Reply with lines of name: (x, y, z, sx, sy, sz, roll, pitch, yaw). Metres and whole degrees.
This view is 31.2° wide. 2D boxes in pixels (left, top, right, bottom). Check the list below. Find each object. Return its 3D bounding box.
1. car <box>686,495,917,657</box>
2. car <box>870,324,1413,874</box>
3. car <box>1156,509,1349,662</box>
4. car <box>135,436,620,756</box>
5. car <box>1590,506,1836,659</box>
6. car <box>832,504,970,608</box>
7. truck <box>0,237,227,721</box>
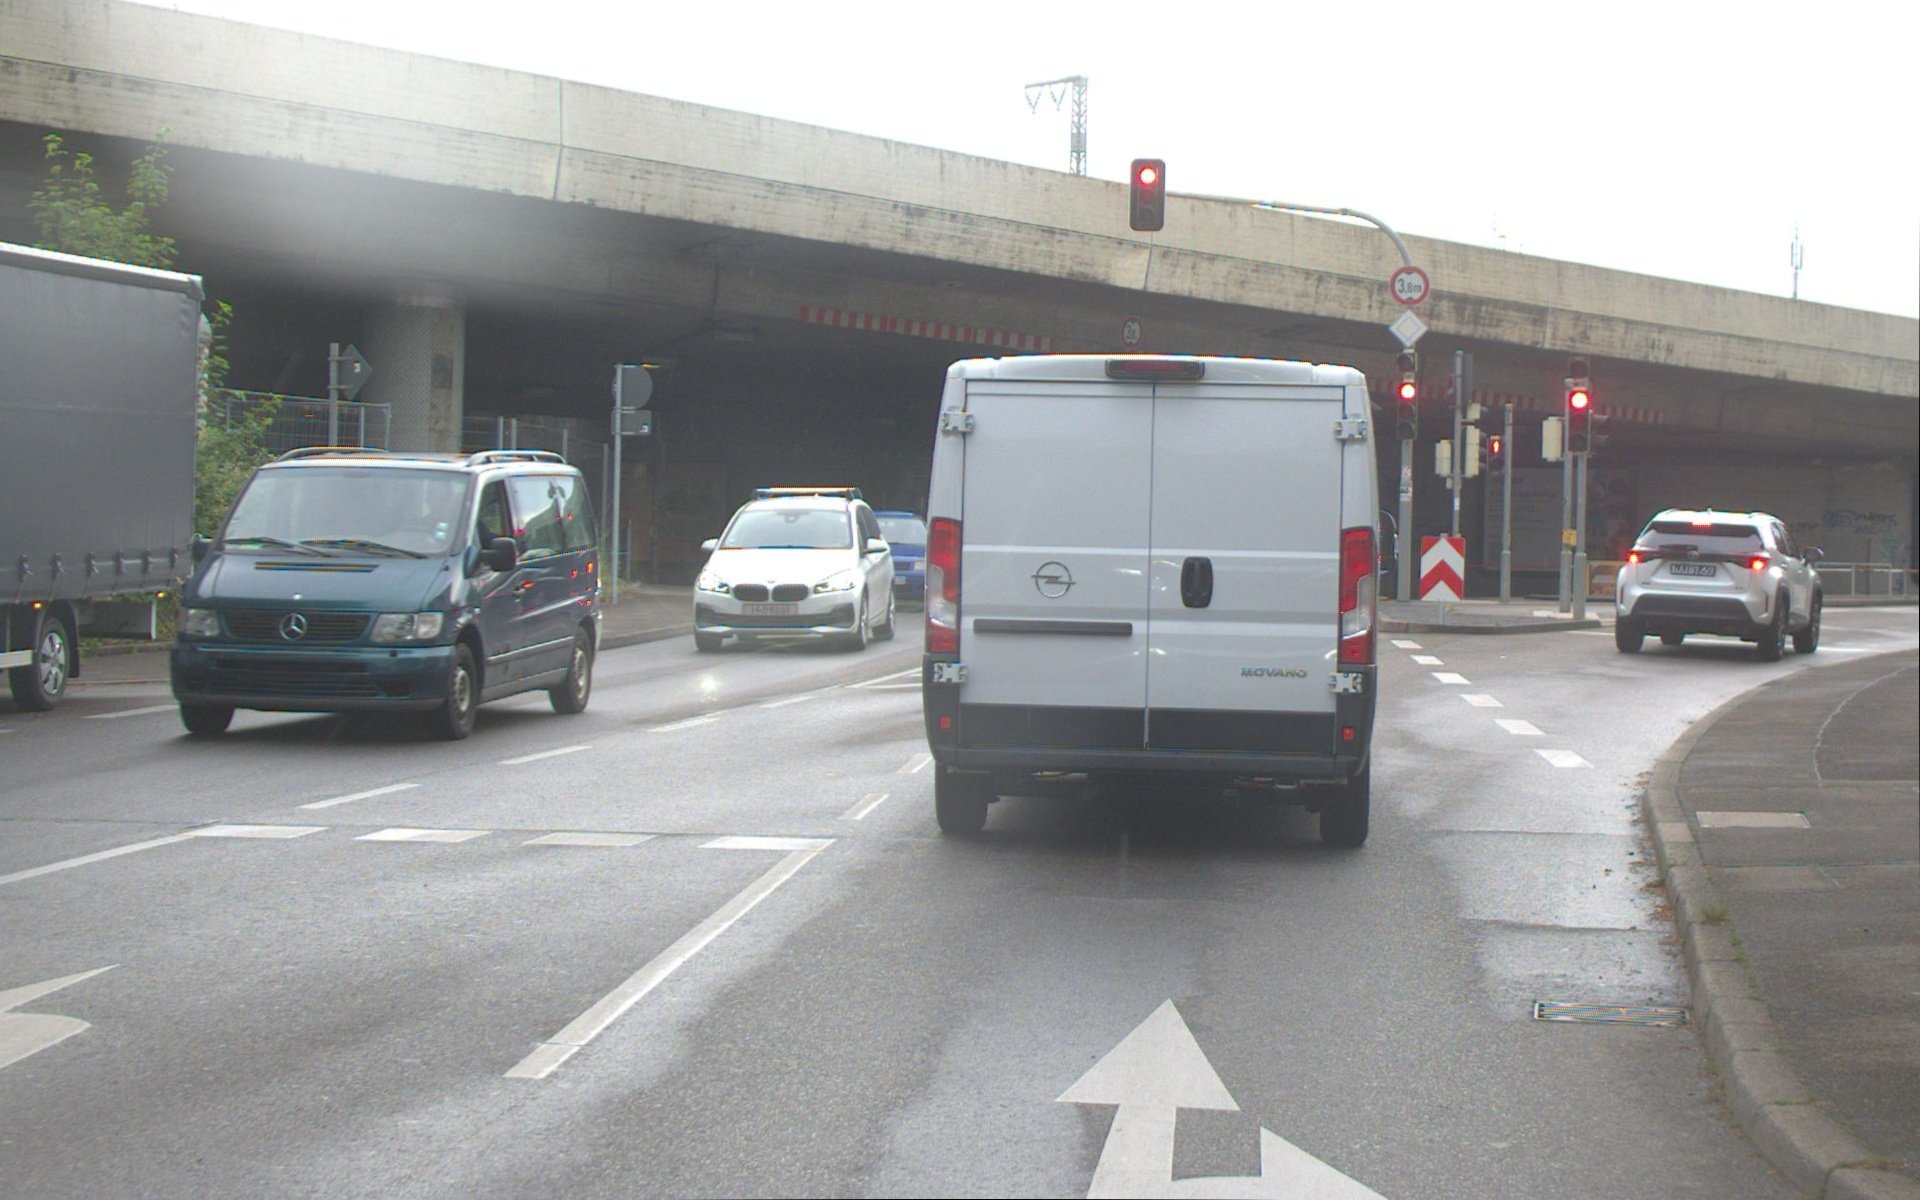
car: (-1.669, -0.312, 37.617, 1.832, 1.573, 4.333, 2, 2, 6)
car: (0.962, -0.093, 17.682, 2.305, 2.335, 5.282, 2, 2, 4)
car: (3.621, -0.177, 41.992, 1.994, 1.723, 3.998, 2, 0, 9)
car: (-3.826, -0.062, 23.494, 1.958, 1.924, 4.682, 1, 1, 7)
car: (8.367, -0.182, 37.953, 1.996, 1.544, 3.995, 2, 0, 22)
car: (-0.835, -0.676, 50.399, 1.598, 1.421, 3.696, 2, 2, 5)
truck: (-7.655, -0.847, 23.425, 2.611, 3.226, 7.774, 2, 1, 8)
